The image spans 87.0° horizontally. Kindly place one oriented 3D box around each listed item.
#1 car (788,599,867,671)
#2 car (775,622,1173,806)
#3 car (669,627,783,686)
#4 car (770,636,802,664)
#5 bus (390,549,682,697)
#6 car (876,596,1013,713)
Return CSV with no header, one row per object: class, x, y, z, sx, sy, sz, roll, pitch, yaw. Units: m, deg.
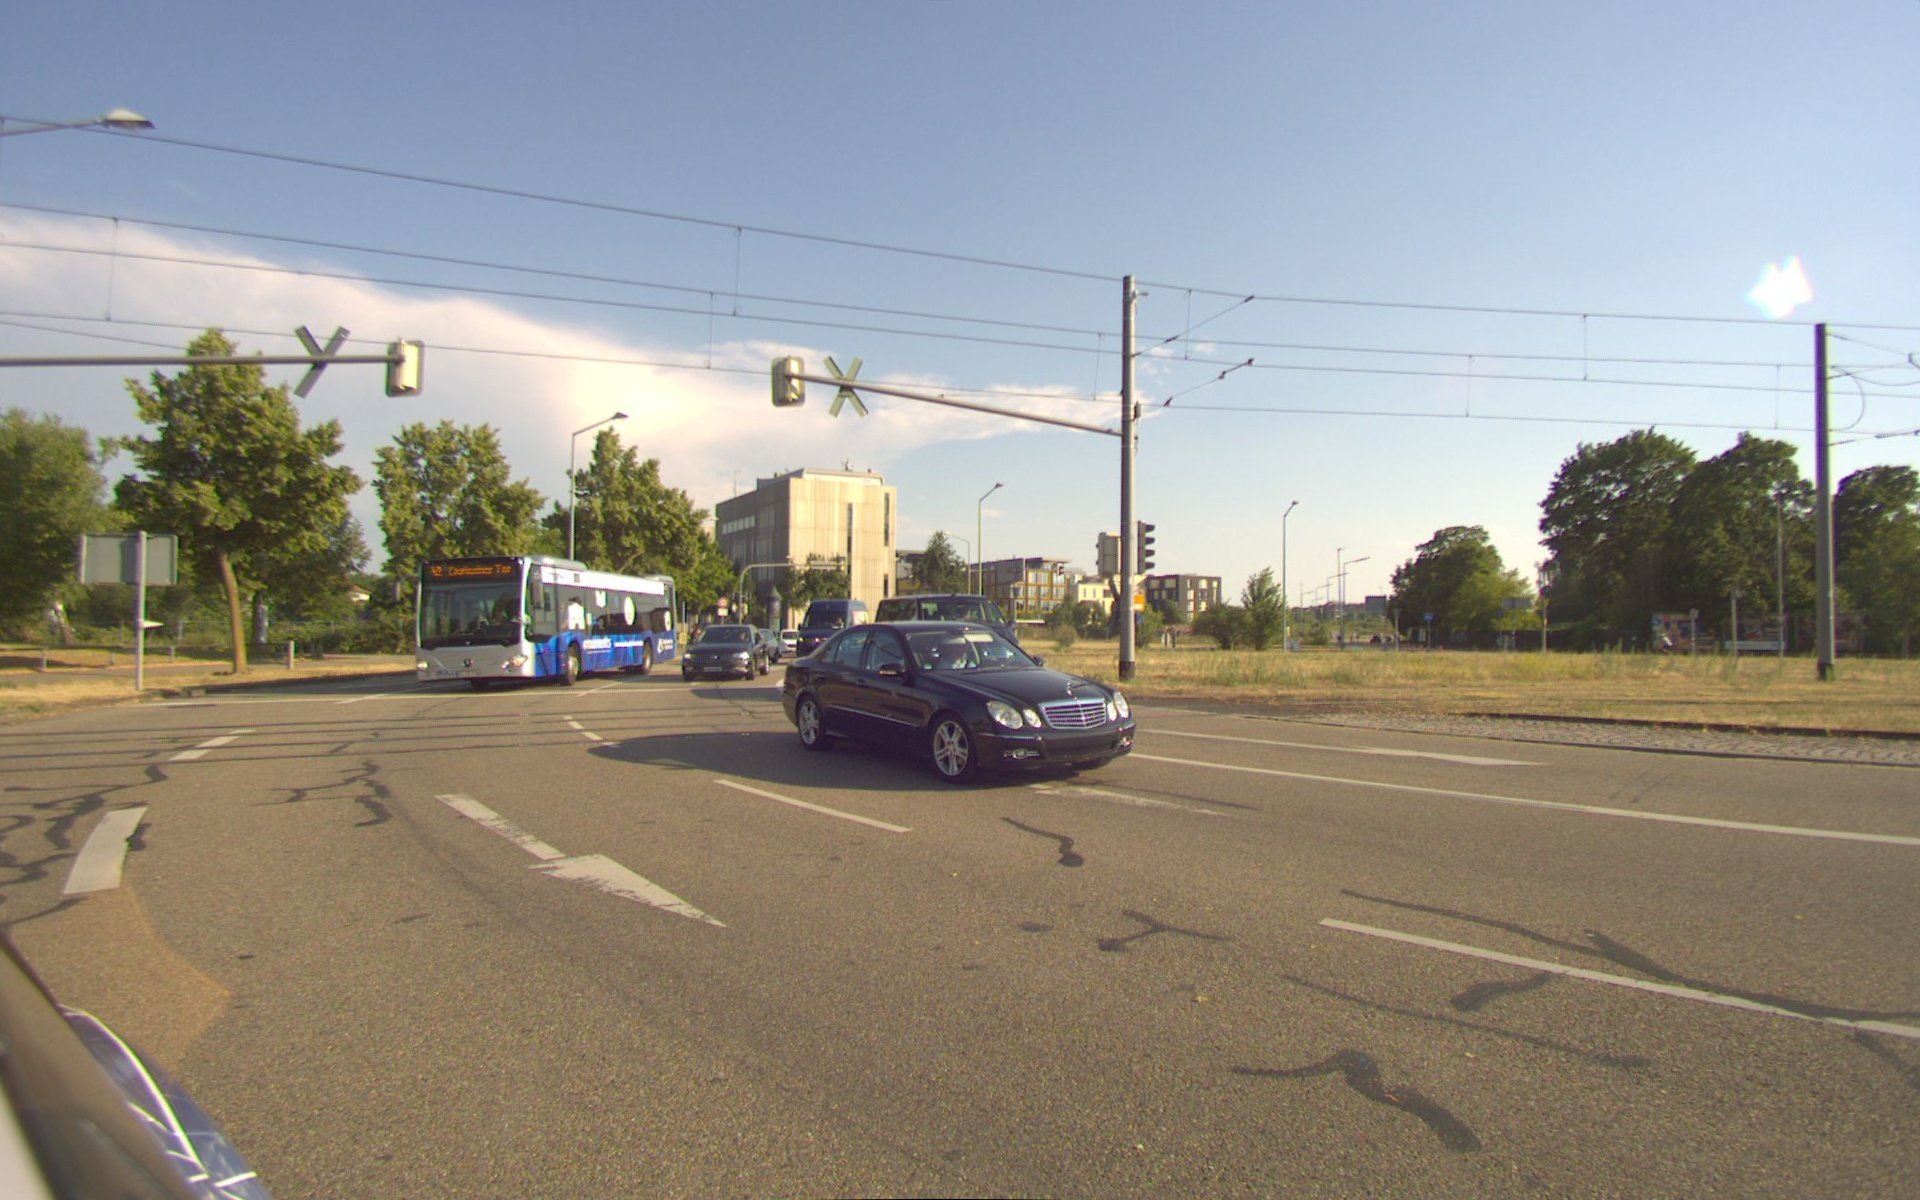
car,-5.189,1.413,40.520,1.975,2.614,5.476,-1,-2,5
car,-0.153,0.954,10.418,1.812,1.417,4.714,0,-1,-32
car,-6.126,1.440,27.066,1.787,1.447,4.382,0,-2,4
car,-9.928,2.824,58.021,1.655,1.529,4.007,1,-2,-8
bus,-10.528,0.628,27.223,2.629,3.085,12.174,0,-1,1
car,-0.473,1.030,20.526,2.061,2.063,5.254,1,-2,-9
